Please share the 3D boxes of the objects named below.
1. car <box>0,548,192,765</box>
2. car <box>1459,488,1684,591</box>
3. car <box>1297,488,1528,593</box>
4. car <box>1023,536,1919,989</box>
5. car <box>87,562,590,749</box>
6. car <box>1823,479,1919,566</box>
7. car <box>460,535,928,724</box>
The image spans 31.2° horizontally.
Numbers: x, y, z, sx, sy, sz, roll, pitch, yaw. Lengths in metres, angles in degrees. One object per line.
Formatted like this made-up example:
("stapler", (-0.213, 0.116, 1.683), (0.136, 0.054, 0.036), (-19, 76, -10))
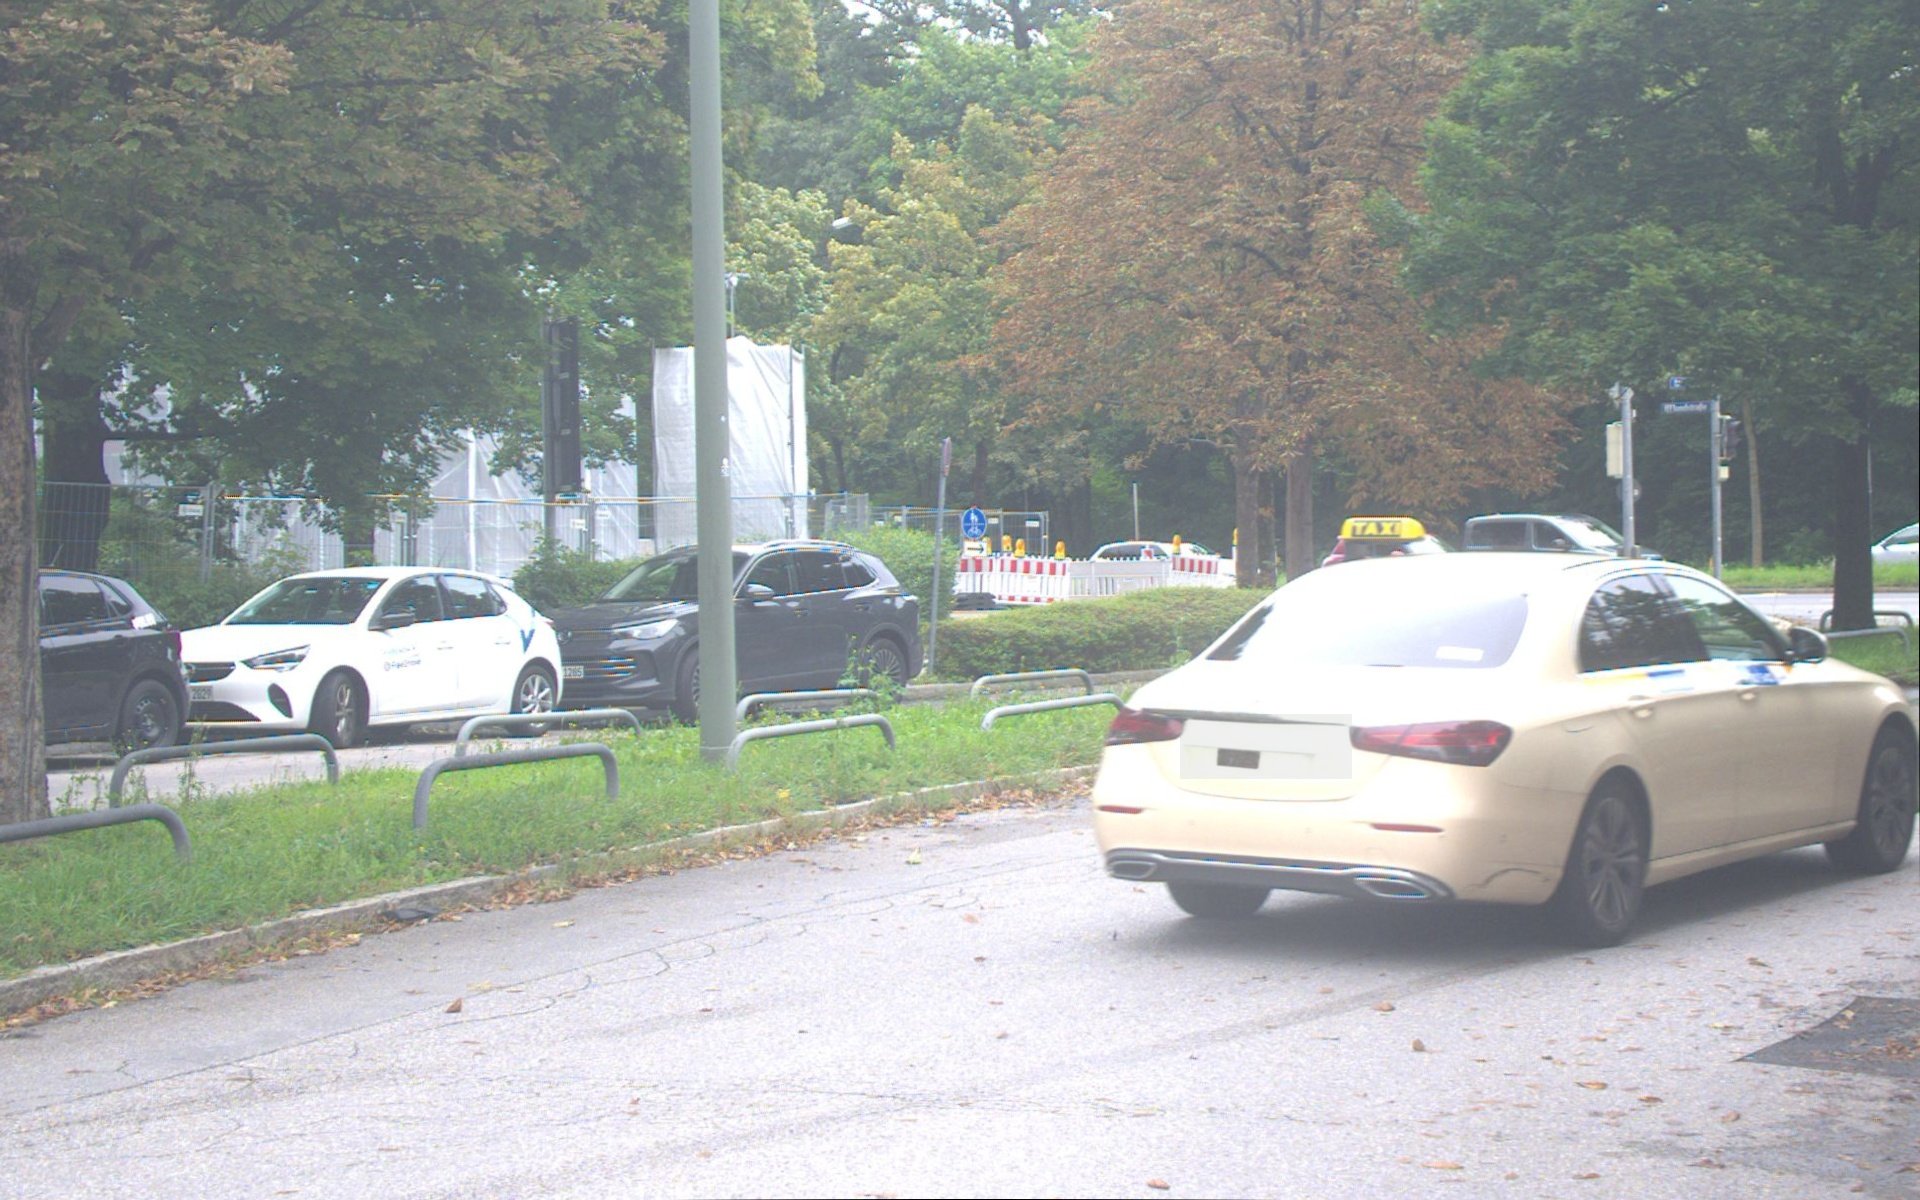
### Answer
("car", (-7.270, 0.391, 23.546), (1.837, 1.456, 4.000), (-1, 0, 25))
("car", (12.226, -1.202, 68.851), (3.997, 2.007, 1.995), (0, 1, 44))
("car", (8.941, -1.167, 68.141), (4.154, 2.007, 1.995), (0, 1, 44))
("car", (2.413, 0.518, 14.285), (1.891, 1.540, 4.844), (0, 1, 35))
("car", (-4.944, 0.408, 27.941), (1.799, 1.379, 4.212), (-1, 0, 28))
("car", (19.922, -1.592, 70.041), (1.994, 1.744, 4.123), (-1, 1, -41))
("car", (-2.357, 0.283, 31.552), (1.889, 1.601, 4.387), (-1, -1, 36))
